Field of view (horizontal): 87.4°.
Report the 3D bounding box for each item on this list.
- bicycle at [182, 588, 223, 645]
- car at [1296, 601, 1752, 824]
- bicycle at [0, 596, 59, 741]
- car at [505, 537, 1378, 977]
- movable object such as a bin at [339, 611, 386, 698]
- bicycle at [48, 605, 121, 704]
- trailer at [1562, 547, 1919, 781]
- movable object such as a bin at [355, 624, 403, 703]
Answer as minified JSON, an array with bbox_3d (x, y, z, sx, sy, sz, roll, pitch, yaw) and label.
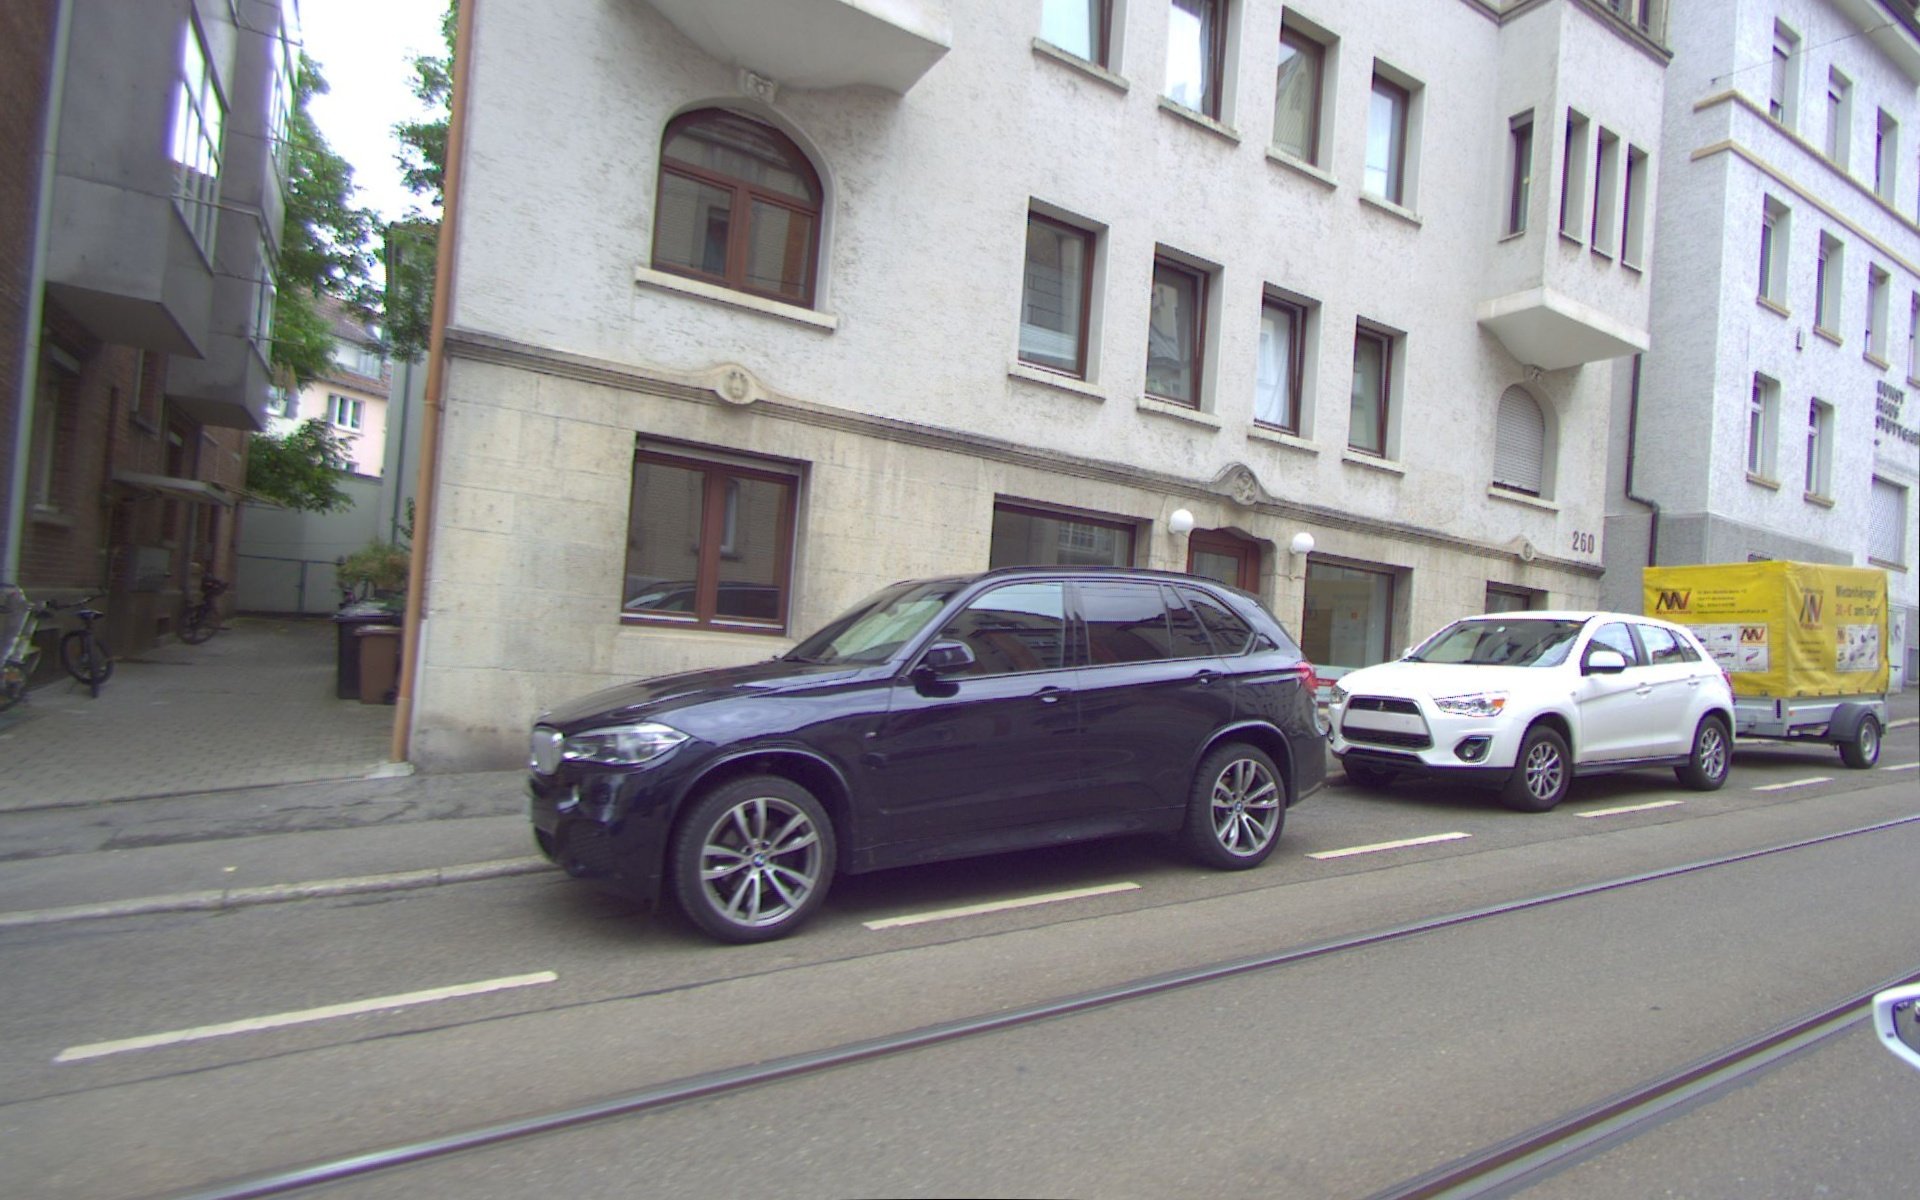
[{"bbox_3d":[-13.564,0.279,18.009,0.443,0.914,1.660,4,0,-34],"label":"bicycle"},{"bbox_3d":[5.180,0.884,9.108,4.217,1.614,1.689,1,-2,-30],"label":"car"},{"bbox_3d":[-7.935,0.528,8.384,0.339,1.048,1.660,4,0,-34],"label":"bicycle"},{"bbox_3d":[0.063,0.675,5.887,4.833,1.686,1.865,1,-2,-30],"label":"car"},{"bbox_3d":[-7.358,0.661,12.392,0.459,1.037,0.479,2,0,-30],"label":"movable object such as a bin"},{"bbox_3d":[-9.413,0.557,10.827,0.339,0.914,1.660,4,0,-34],"label":"bicycle"},{"bbox_3d":[8.730,0.661,11.171,4.022,2.184,1.741,1,-2,-30],"label":"trailer"},{"bbox_3d":[-6.977,0.755,12.067,0.459,0.916,0.424,2,0,-30],"label":"movable object such as a bin"}]
